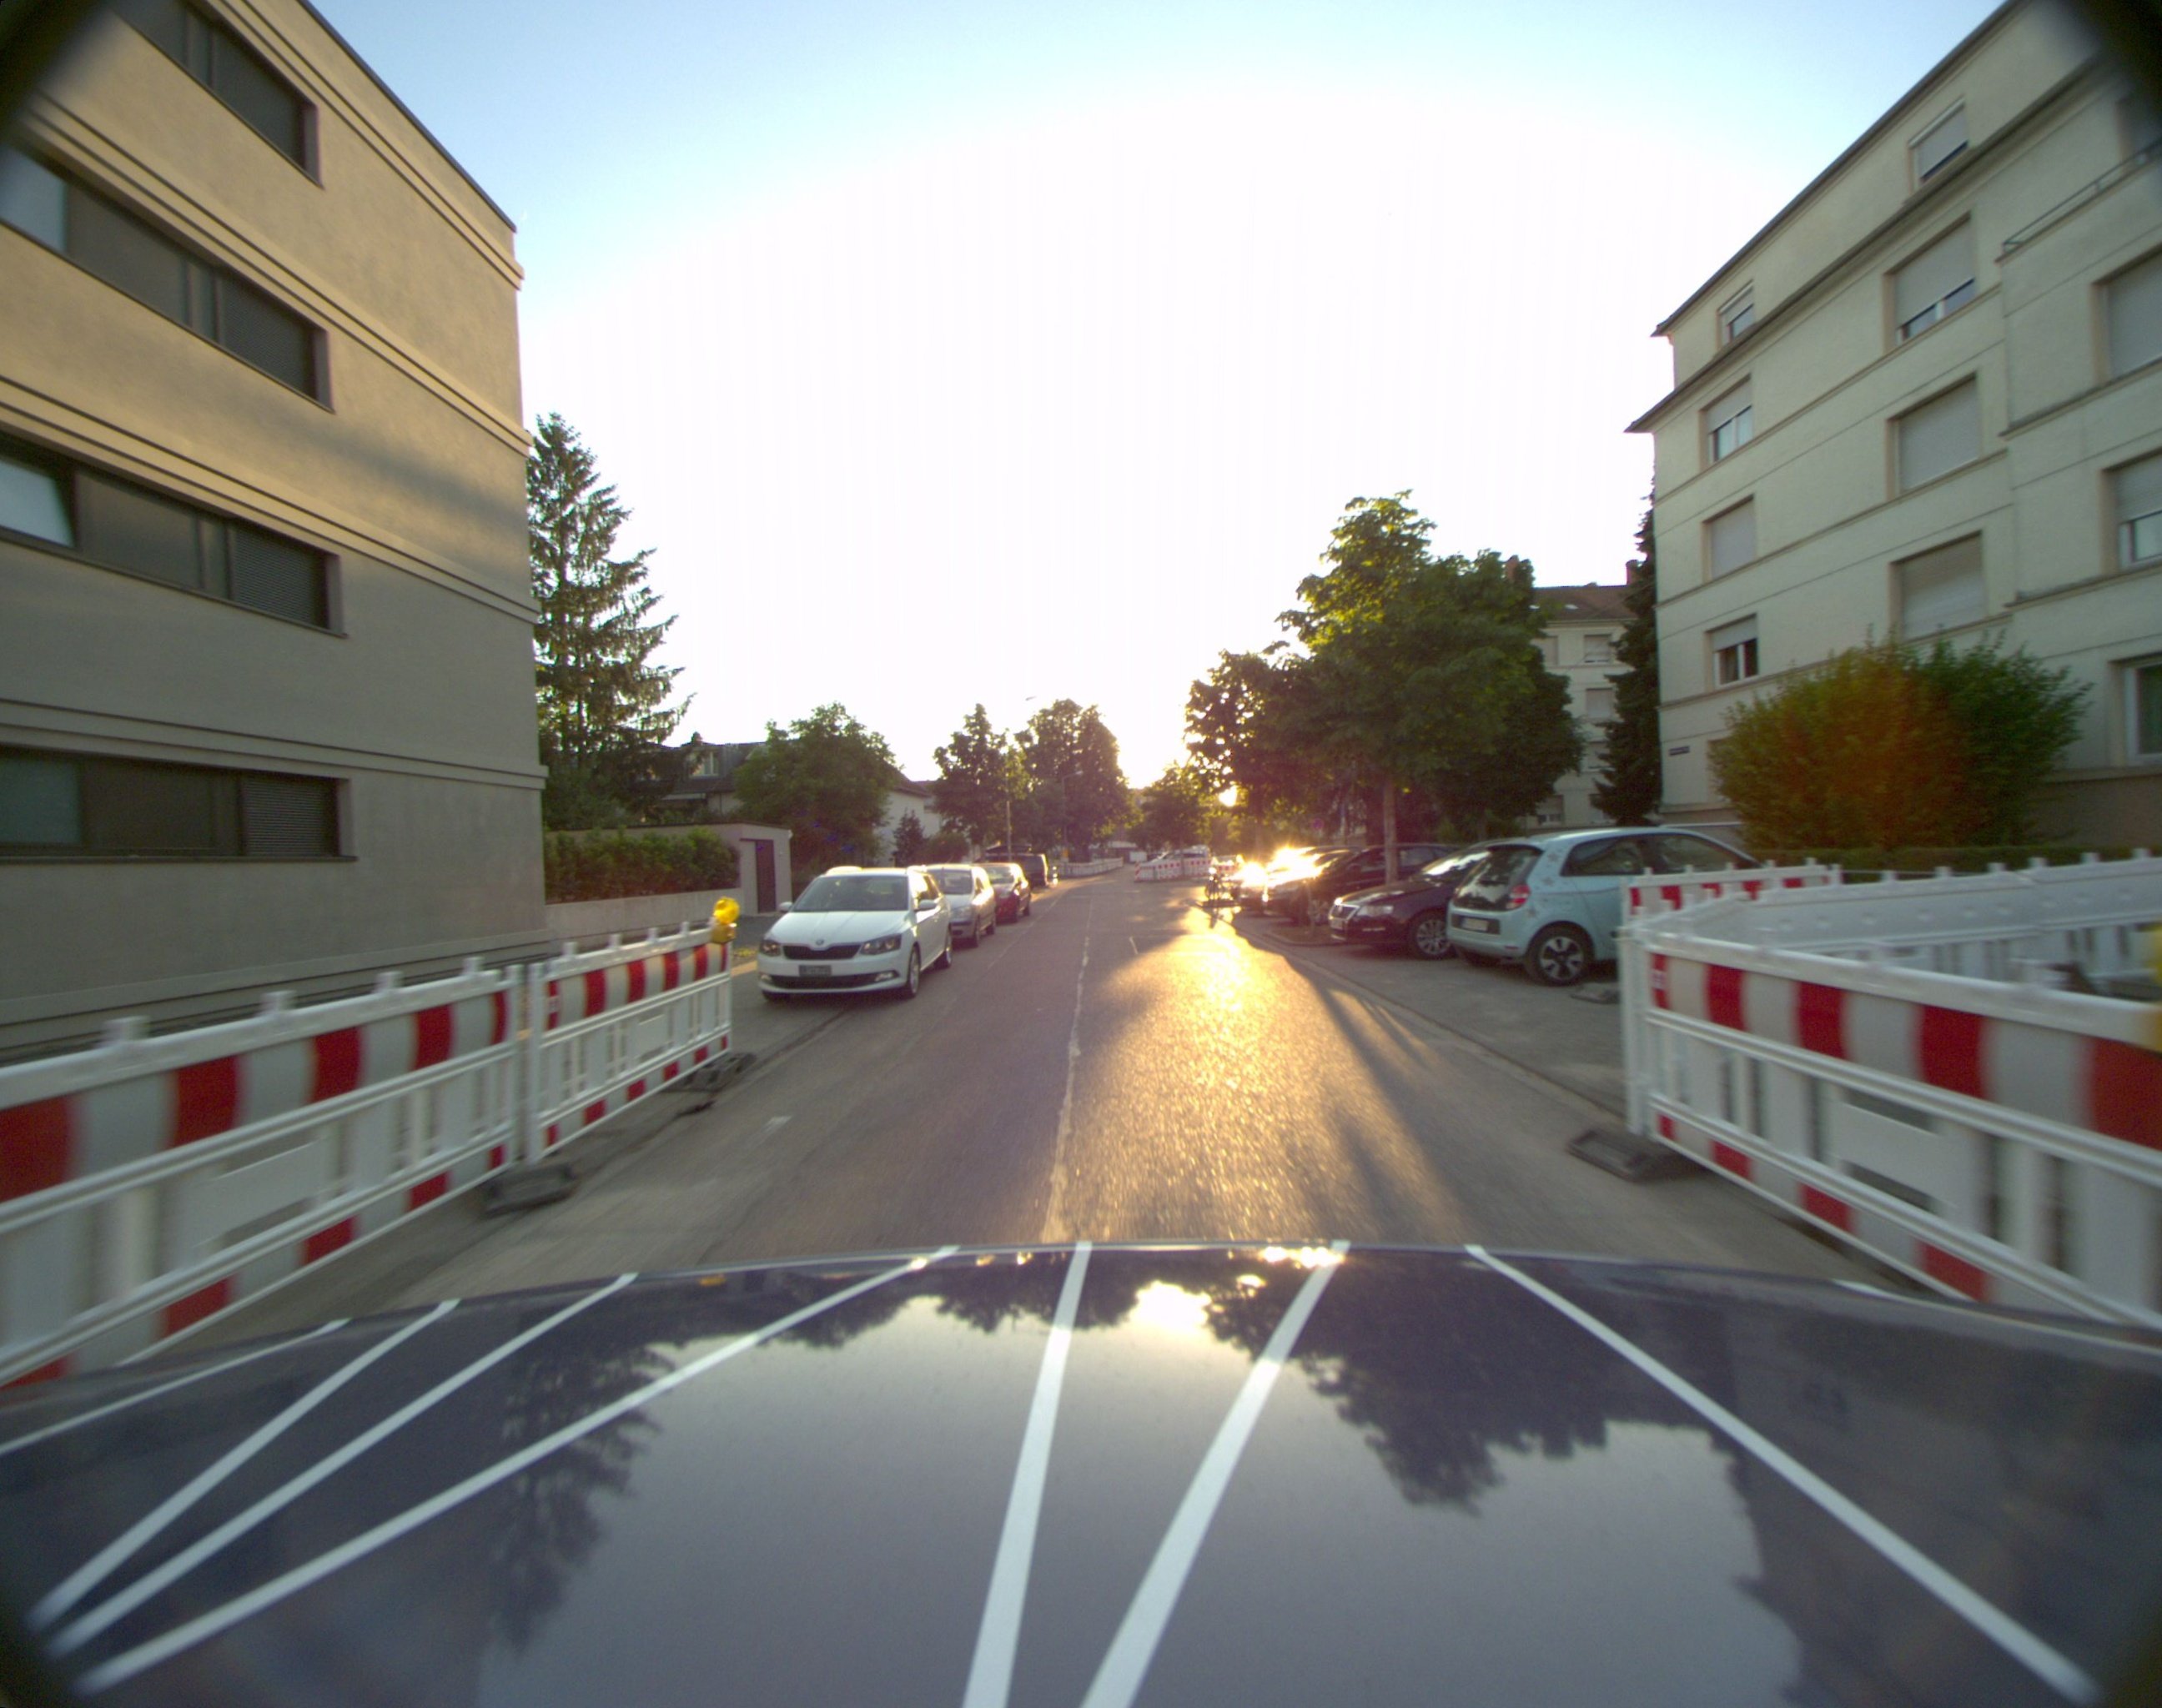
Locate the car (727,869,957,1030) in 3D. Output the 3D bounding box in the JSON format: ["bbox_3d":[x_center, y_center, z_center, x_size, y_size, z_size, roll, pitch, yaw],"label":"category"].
[{"bbox_3d":[-2.706,0.990,9.560,1.618,1.461,3.996,-2,0,-1],"label":"car"}]

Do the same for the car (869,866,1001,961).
[{"bbox_3d":[-2.673,1.036,14.790,1.802,1.461,3.843,-2,0,-1],"label":"car"}]

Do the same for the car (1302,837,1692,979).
[{"bbox_3d":[5.603,0.668,10.500,4.521,1.475,1.727,-4,0,-7],"label":"car"}]

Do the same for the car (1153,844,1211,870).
[{"bbox_3d":[8.733,0.253,65.902,4.785,2.058,2.001,-2,0,6],"label":"car"}]

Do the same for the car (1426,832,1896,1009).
[{"bbox_3d":[6.026,0.645,8.233,3.709,1.475,1.728,-4,0,-1],"label":"car"}]

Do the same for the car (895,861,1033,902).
[{"bbox_3d":[-4.319,1.027,28.548,4.829,1.390,1.770,-1,0,2],"label":"car"}]

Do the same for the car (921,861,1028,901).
[{"bbox_3d":[-4.328,1.098,31.245,4.064,1.492,1.771,-1,0,4],"label":"car"}]

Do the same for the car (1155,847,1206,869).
[{"bbox_3d":[8.258,0.348,63.243,4.129,1.673,2.001,-2,0,6],"label":"car"}]

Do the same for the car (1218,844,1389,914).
[{"bbox_3d":[5.827,0.635,20.253,3.996,1.533,1.728,-4,0,3],"label":"car"}]

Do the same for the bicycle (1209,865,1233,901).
[{"bbox_3d":[4.523,0.928,24.629,0.448,1.089,1.629,-2,1,1],"label":"bicycle"}]

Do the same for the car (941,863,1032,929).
[{"bbox_3d":[-2.379,1.030,19.992,1.745,1.461,3.759,-2,0,2],"label":"car"}]

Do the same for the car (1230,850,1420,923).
[{"bbox_3d":[5.555,0.728,17.652,3.851,1.376,1.607,-4,0,2],"label":"car"}]

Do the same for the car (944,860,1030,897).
[{"bbox_3d":[-4.421,1.137,36.159,3.842,1.535,1.629,-2,0,0],"label":"car"}]

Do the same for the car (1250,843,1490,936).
[{"bbox_3d":[5.582,0.672,15.084,4.041,1.475,1.728,-4,0,3],"label":"car"}]

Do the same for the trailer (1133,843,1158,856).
[{"bbox_3d":[10.891,-0.720,128.433,3.682,2.056,2.002,-3,0,15],"label":"trailer"}]

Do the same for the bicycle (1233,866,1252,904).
[{"bbox_3d":[5.280,0.988,24.819,0.280,1.151,1.526,-2,0,1],"label":"bicycle"}]

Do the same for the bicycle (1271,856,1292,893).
[{"bbox_3d":[6.492,0.652,24.643,0.280,1.151,1.526,-2,1,1],"label":"bicycle"}]

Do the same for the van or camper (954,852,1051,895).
[{"bbox_3d":[-3.895,0.959,38.563,4.659,1.942,2.094,-2,0,-1],"label":"van or camper"}]
